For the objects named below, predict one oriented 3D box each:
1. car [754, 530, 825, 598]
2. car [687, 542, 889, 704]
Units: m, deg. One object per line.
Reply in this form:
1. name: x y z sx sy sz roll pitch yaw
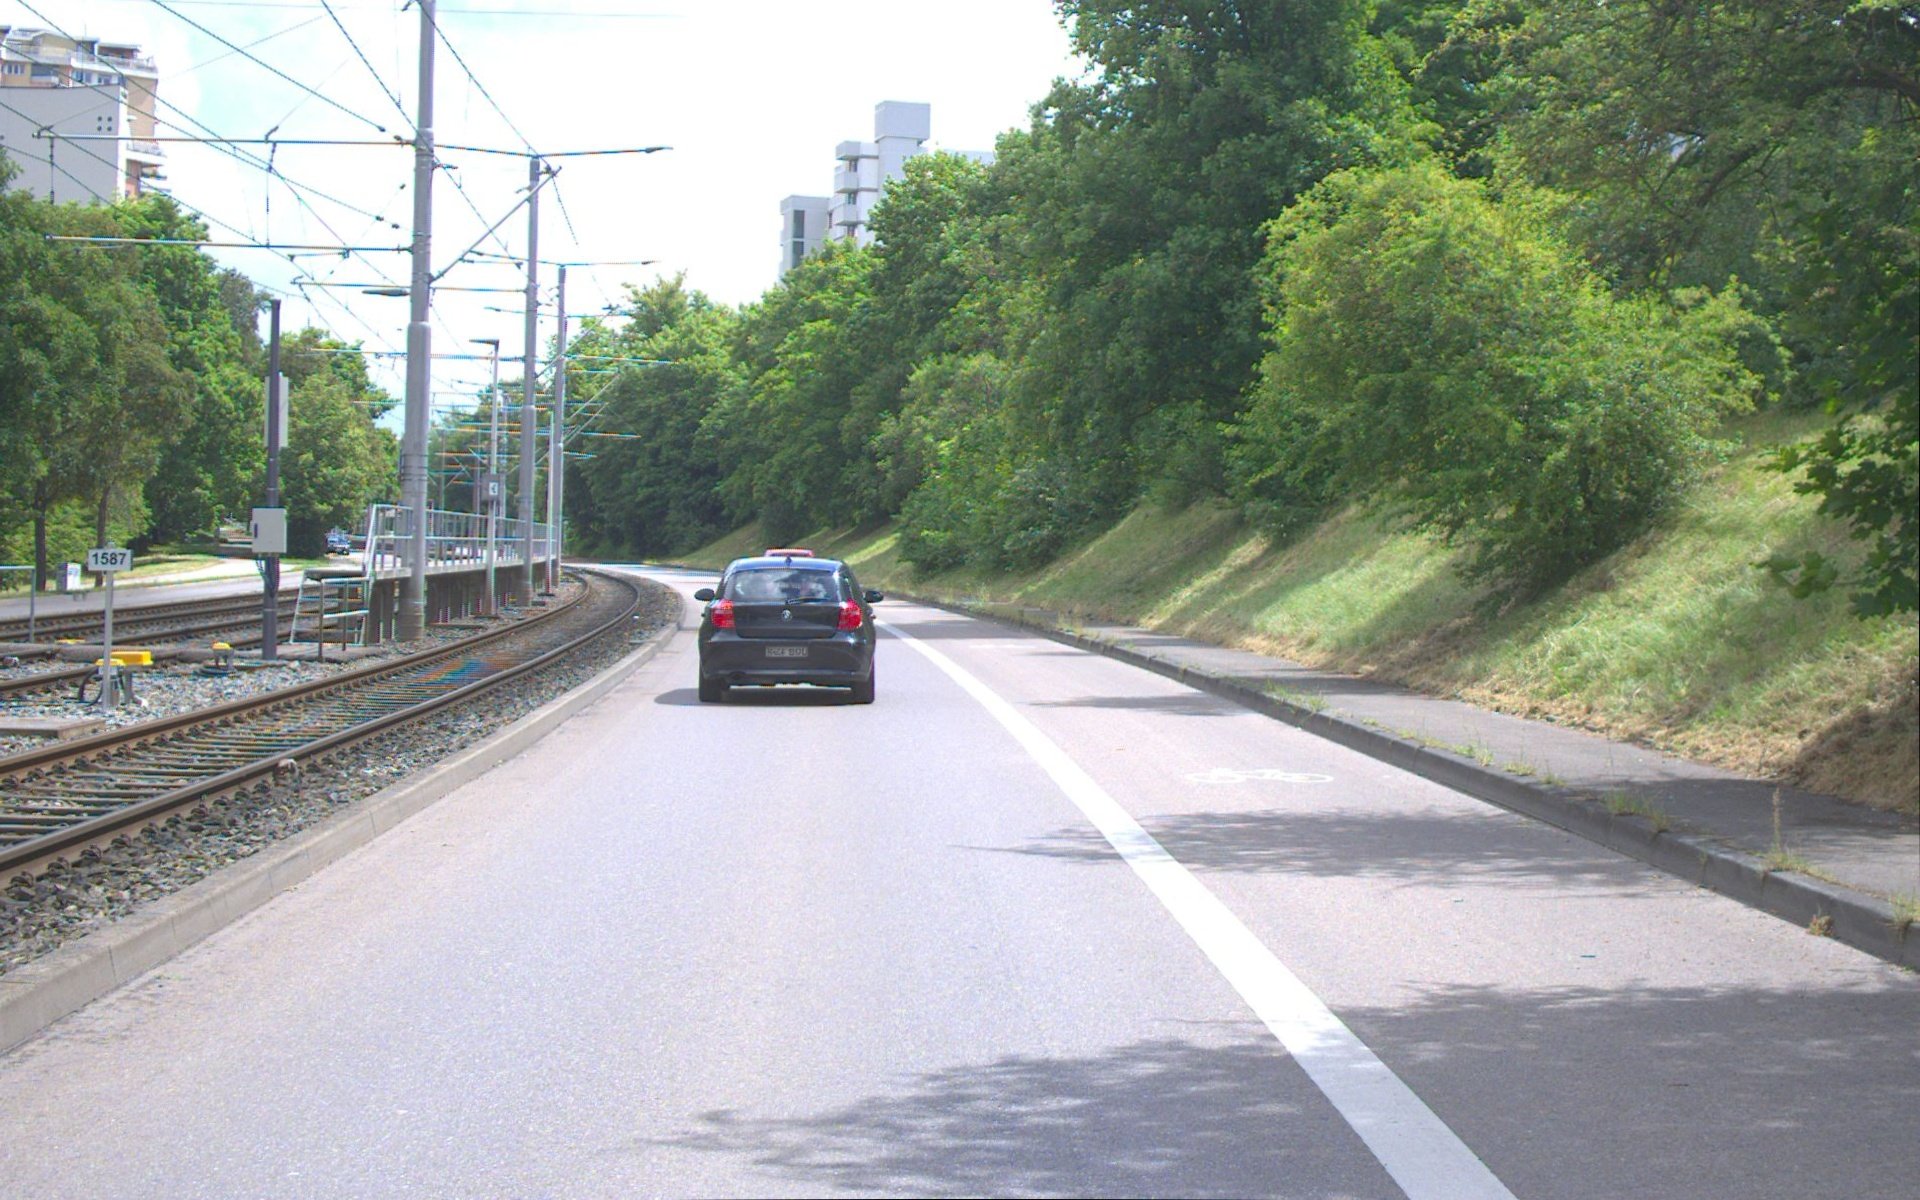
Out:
1. car: -4.146 -0.892 83.277 1.624 1.438 3.422 2 3 -3
2. car: -1.668 0.207 34.525 1.708 1.455 3.960 3 0 1
